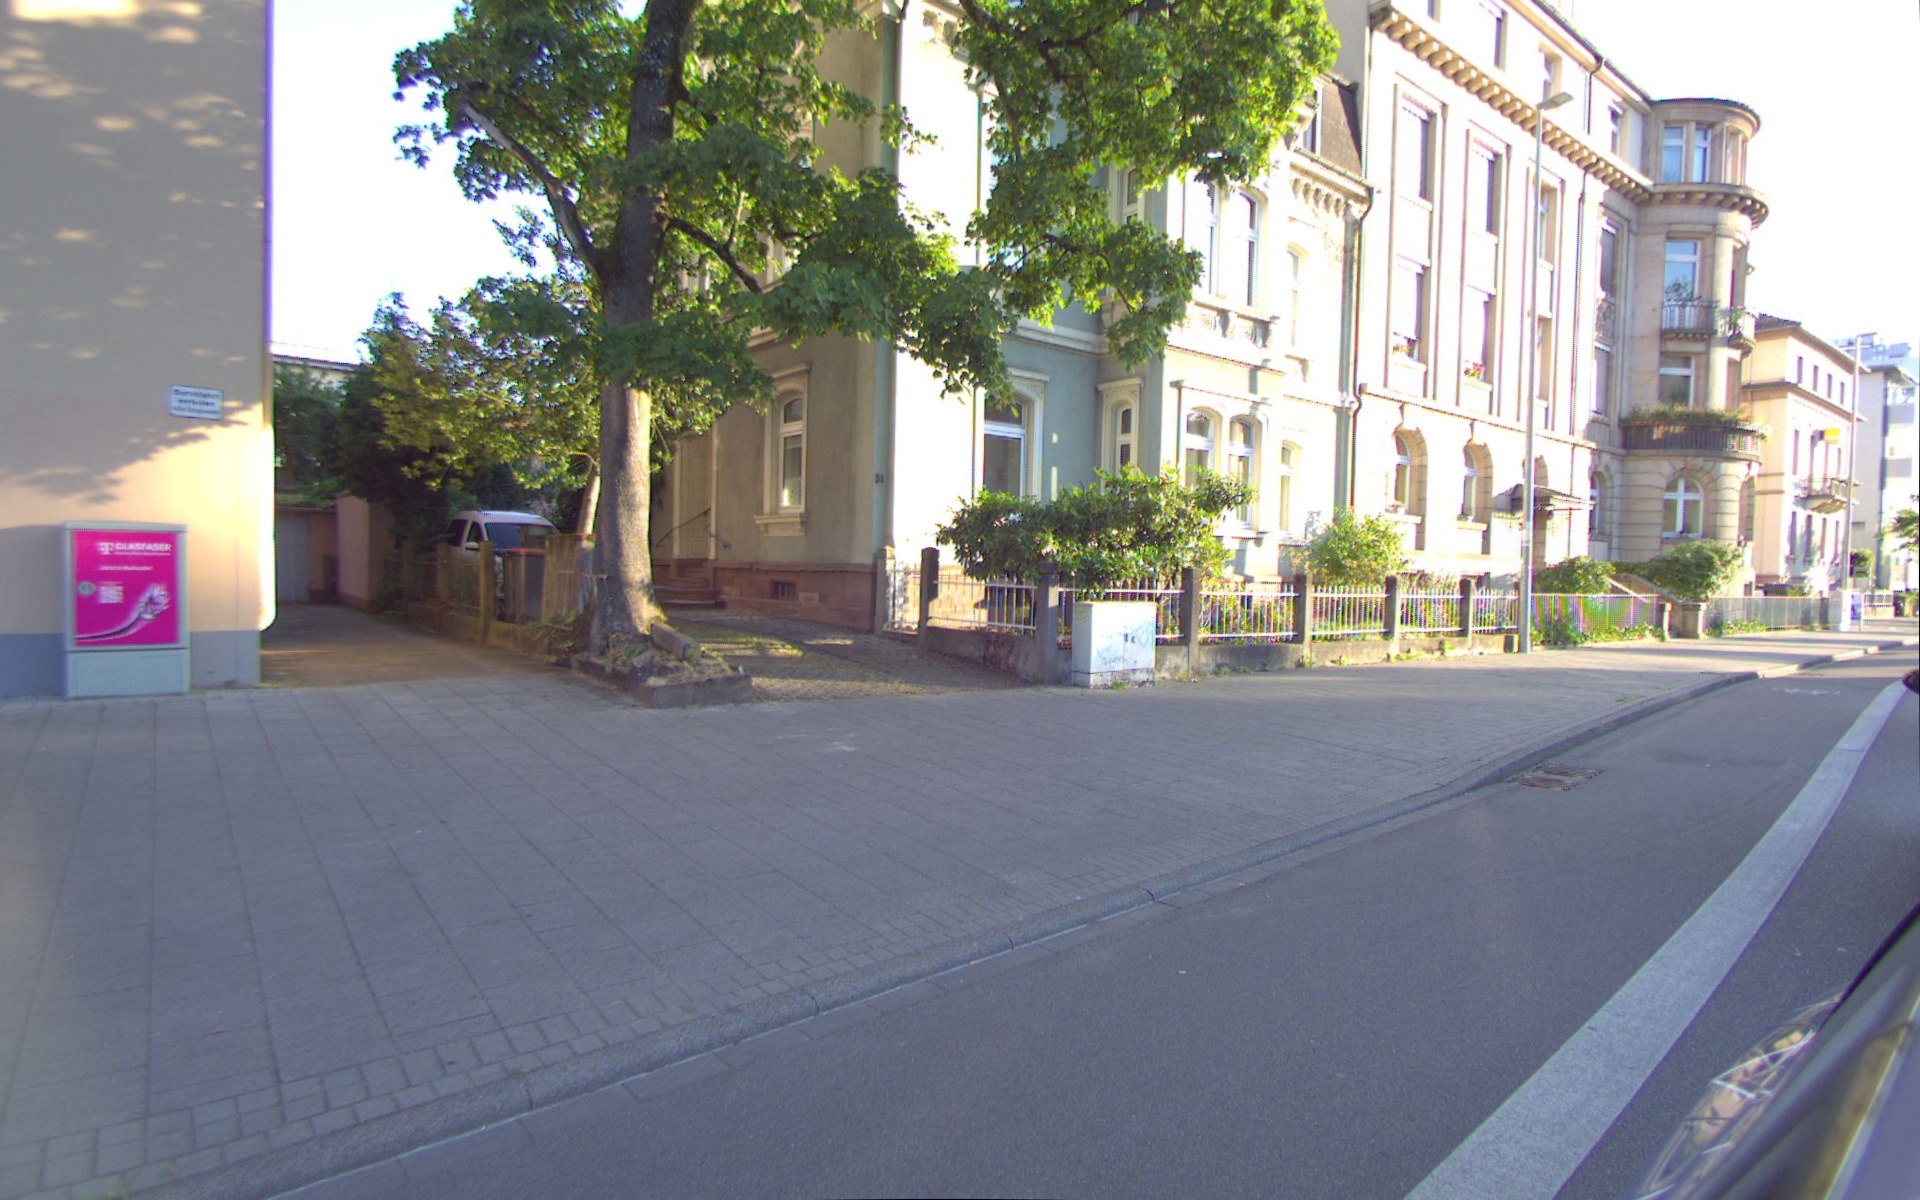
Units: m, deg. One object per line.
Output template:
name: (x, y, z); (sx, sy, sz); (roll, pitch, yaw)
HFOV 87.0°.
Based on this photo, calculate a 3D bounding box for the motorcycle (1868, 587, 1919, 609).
motorcycle: (48.302, -0.115, 52.350); (0.564, 1.110, 1.851); (0, 1, -33)

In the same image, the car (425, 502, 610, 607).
car: (-8.651, -0.927, 19.584); (1.795, 1.778, 4.513); (1, 3, -44)

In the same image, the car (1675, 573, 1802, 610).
car: (34.045, -0.411, 44.342); (1.903, 1.499, 4.098); (0, 2, -38)
